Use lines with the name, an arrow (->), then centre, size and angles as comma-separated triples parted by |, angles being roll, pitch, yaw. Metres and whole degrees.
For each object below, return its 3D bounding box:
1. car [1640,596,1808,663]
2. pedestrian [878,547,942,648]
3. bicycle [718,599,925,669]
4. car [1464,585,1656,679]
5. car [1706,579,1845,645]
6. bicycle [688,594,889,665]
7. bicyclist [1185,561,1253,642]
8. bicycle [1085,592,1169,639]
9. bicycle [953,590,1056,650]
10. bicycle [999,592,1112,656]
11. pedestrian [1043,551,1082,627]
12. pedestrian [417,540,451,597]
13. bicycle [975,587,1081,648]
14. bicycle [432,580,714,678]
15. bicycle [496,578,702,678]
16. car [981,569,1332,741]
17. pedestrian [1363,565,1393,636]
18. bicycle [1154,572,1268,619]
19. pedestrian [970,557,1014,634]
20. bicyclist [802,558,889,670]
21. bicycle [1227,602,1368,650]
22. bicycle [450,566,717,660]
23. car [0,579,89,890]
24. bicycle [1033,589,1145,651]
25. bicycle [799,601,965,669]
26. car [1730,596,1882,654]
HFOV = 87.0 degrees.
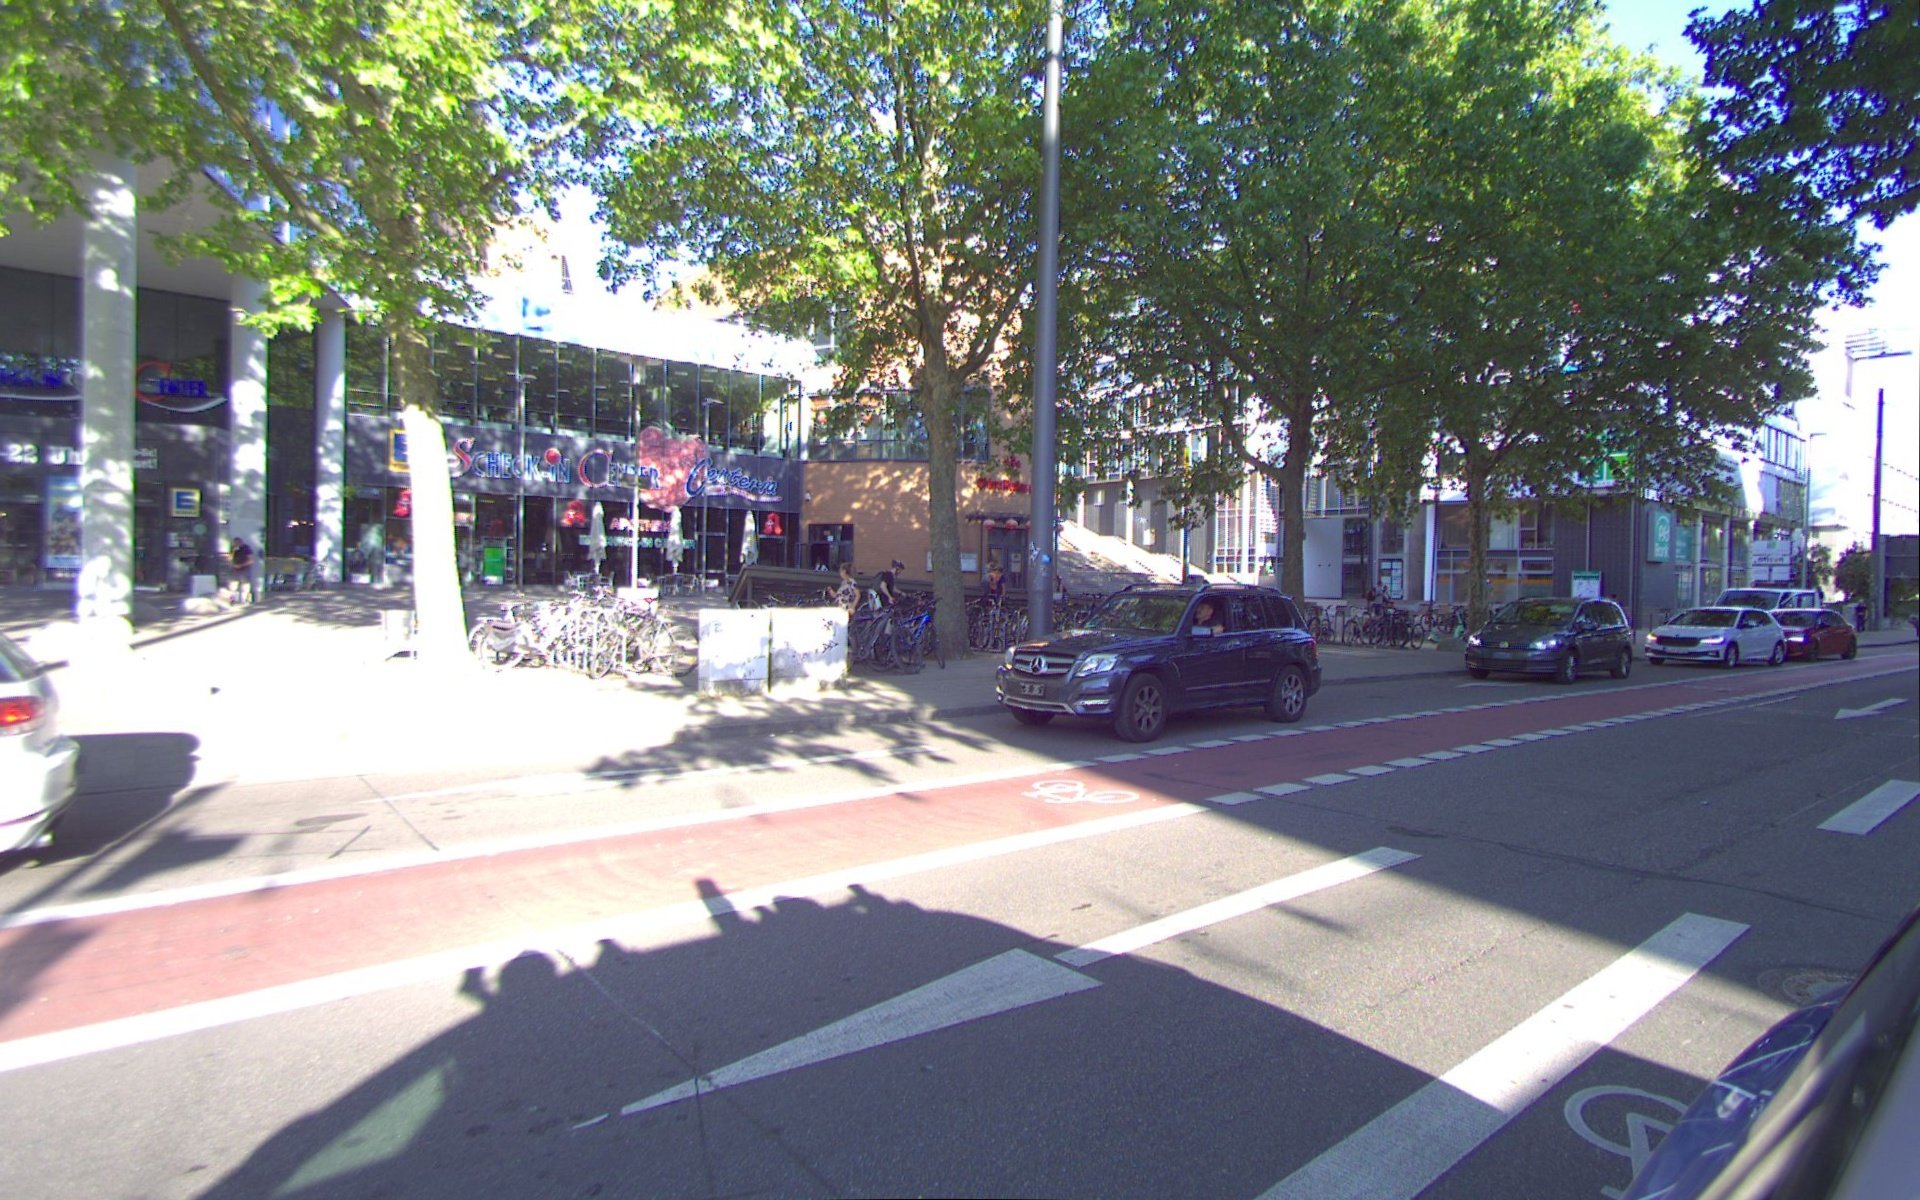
car -> 18.877, 0.681, 24.981 | 4.111, 1.508, 1.839 | 0, 0, -30
pedestrian -> -1.035, -0.069, 21.131 | 0.922, 2.039, 1.085 | 2, 1, 24
bicycle -> -2.207, 0.503, 16.648 | 3.352, 1.014, 1.050 | -1, 0, -41
car -> 11.814, 0.561, 19.822 | 4.308, 1.656, 1.711 | 0, 0, -37
car -> 26.457, 0.357, 32.767 | 5.805, 1.989, 1.935 | 0, 0, -34
bicycle -> -2.895, 0.456, 17.509 | 3.352, 1.013, 1.051 | -1, 6, -41
bicyclist -> 6.744, 0.013, 26.380 | 1.132, 2.039, 1.301 | 0, 1, -24
bicycle -> 4.498, 0.388, 27.124 | 2.653, 1.215, 0.698 | -1, 1, -41
bicycle -> 0.936, 0.384, 20.865 | 2.251, 1.177, 0.657 | -1, 0, -38
bicycle -> 1.893, 0.432, 19.717 | 2.355, 1.177, 0.750 | -1, 0, -40
pedestrian -> 3.082, -0.330, 30.421 | 0.884, 2.261, 0.845 | 0, 0, -19
pedestrian -> -16.578, -1.004, 31.907 | 0.823, 1.765, 0.645 | 0, 1, -41
bicycle -> 1.393, 0.326, 20.320 | 2.263, 1.177, 0.671 | -1, 0, -38
bicycle -> -5.519, 0.373, 14.703 | 3.744, 1.236, 0.758 | -2, -2, -35
bicycle -> -4.848, 0.333, 13.712 | 2.504, 1.236, 0.758 | -2, 1, -35
car -> 2.390, 0.516, 11.732 | 4.174, 1.656, 1.768 | 0, 0, -40
pedestrian -> 16.020, 0.029, 38.795 | 0.967, 2.681, 0.897 | 0, 0, 18
bicycle -> 6.567, -0.145, 26.792 | 1.124, 1.097, 3.342 | 0, 2, -23
pedestrian -> 0.949, -0.146, 30.431 | 1.195, 2.276, 1.052 | 0, 0, -3
bicyclist -> -1.764, 0.200, 15.583 | 1.005, 1.641, 0.902 | 0, 0, -41
bicycle -> 7.847, 0.588, 23.522 | 3.136, 1.038, 0.979 | 0, 0, -18
bicycle -> -5.697, 0.245, 15.601 | 3.743, 1.236, 0.729 | 4, -2, -35
car -> -6.229, 0.615, 4.226 | 3.917, 1.446, 1.637 | 0, 0, -41
bicycle -> 2.445, 0.343, 18.954 | 2.295, 1.073, 0.682 | -1, 1, -39
bicycle -> -1.200, 0.519, 16.067 | 2.591, 0.960, 0.924 | -1, 0, -41
car -> 23.523, 0.650, 28.128 | 4.110, 1.508, 1.839 | 0, -1, -28
